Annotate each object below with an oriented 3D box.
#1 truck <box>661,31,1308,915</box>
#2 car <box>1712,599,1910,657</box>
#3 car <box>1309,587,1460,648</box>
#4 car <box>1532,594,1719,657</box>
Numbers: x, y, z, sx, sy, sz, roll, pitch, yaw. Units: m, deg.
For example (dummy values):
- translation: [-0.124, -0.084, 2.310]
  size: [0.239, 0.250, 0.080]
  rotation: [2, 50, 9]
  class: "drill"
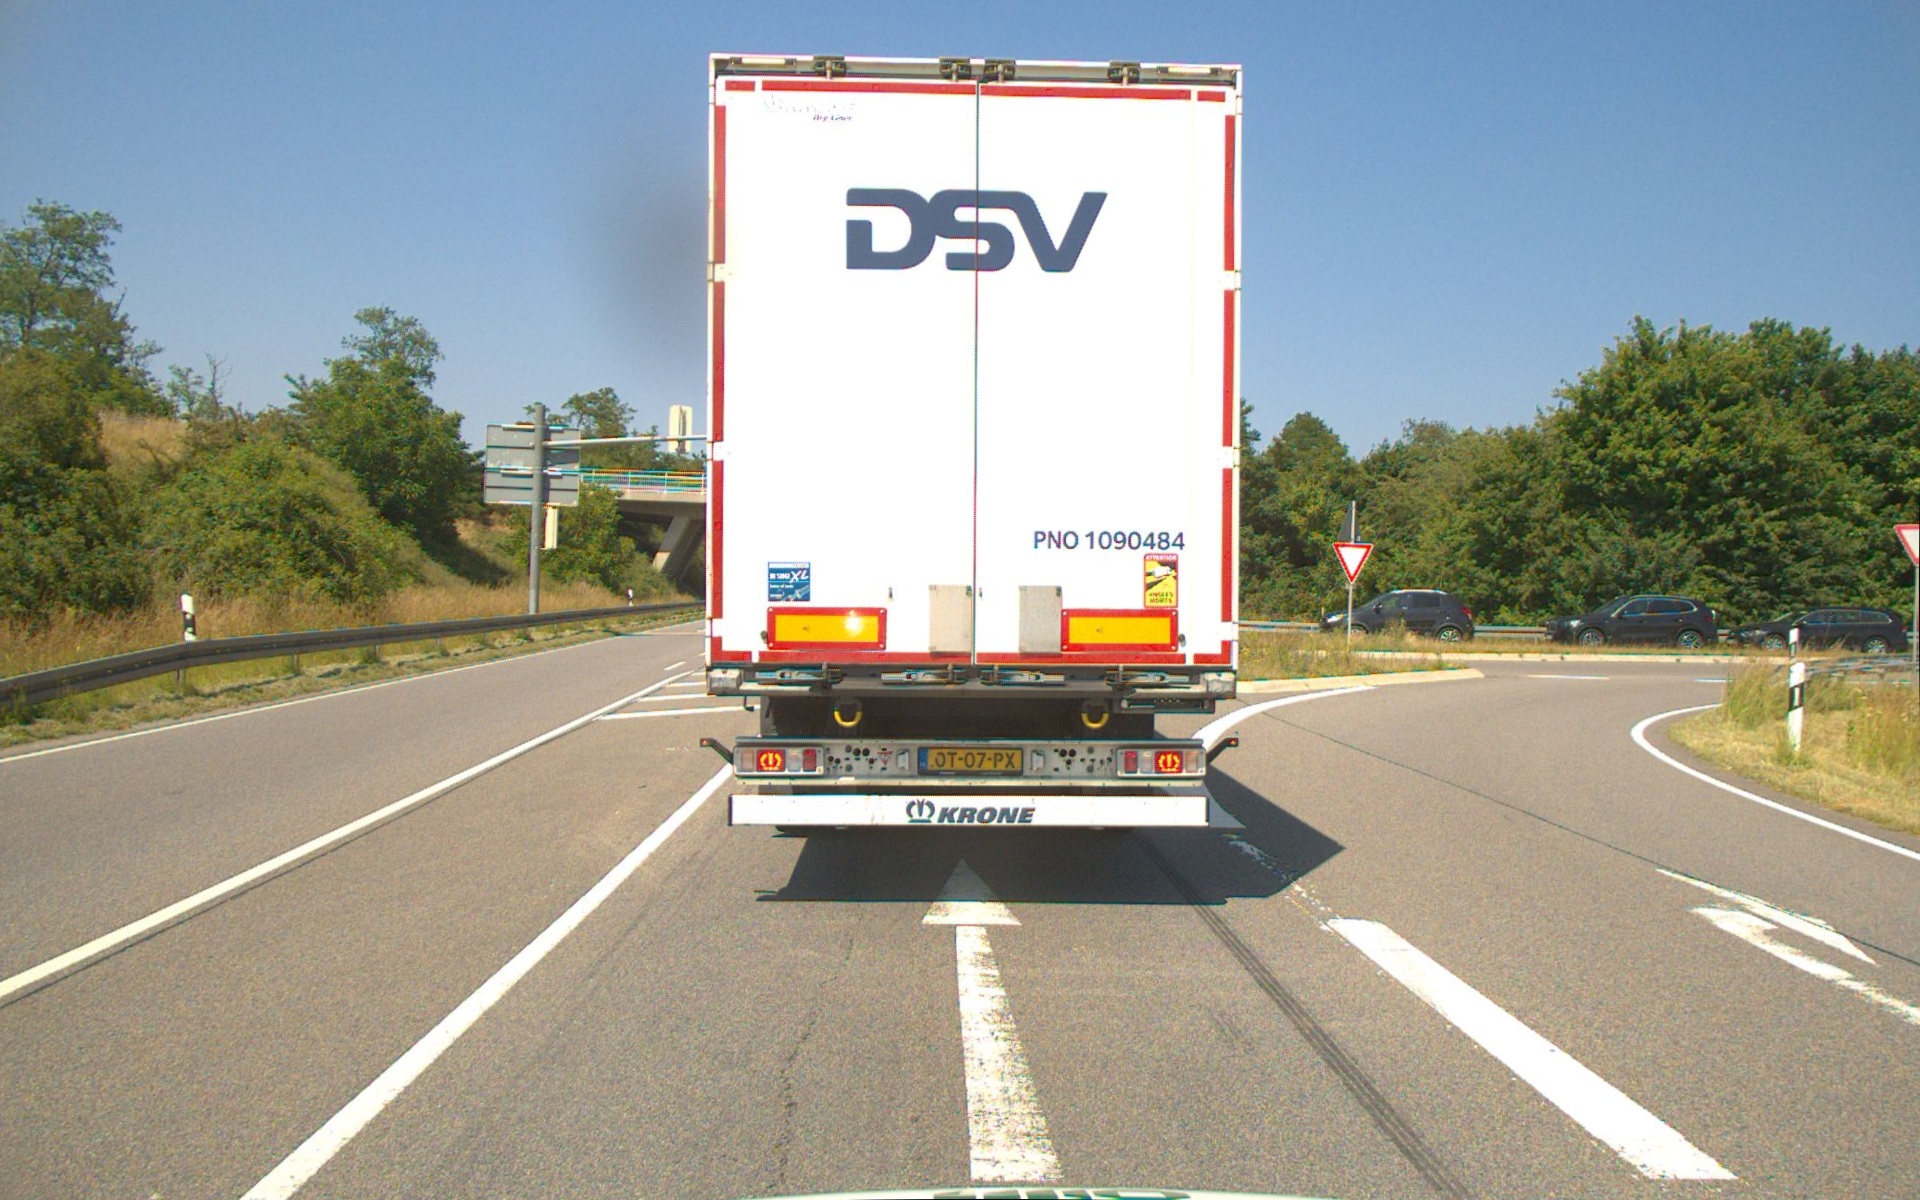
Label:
- translation: [0.010, -0.578, 12.510]
  size: [2.927, 4.011, 9.873]
  rotation: [1, 0, -1]
  class: "truck"
- translation: [23.858, 0.778, 46.497]
  size: [4.583, 1.540, 1.854]
  rotation: [1, 0, 6]
  class: "car"
- translation: [12.011, 0.486, 46.966]
  size: [3.901, 1.668, 1.842]
  rotation: [1, 0, 5]
  class: "car"
- translation: [18.058, 0.686, 45.017]
  size: [4.393, 1.626, 1.768]
  rotation: [1, 0, 2]
  class: "car"
